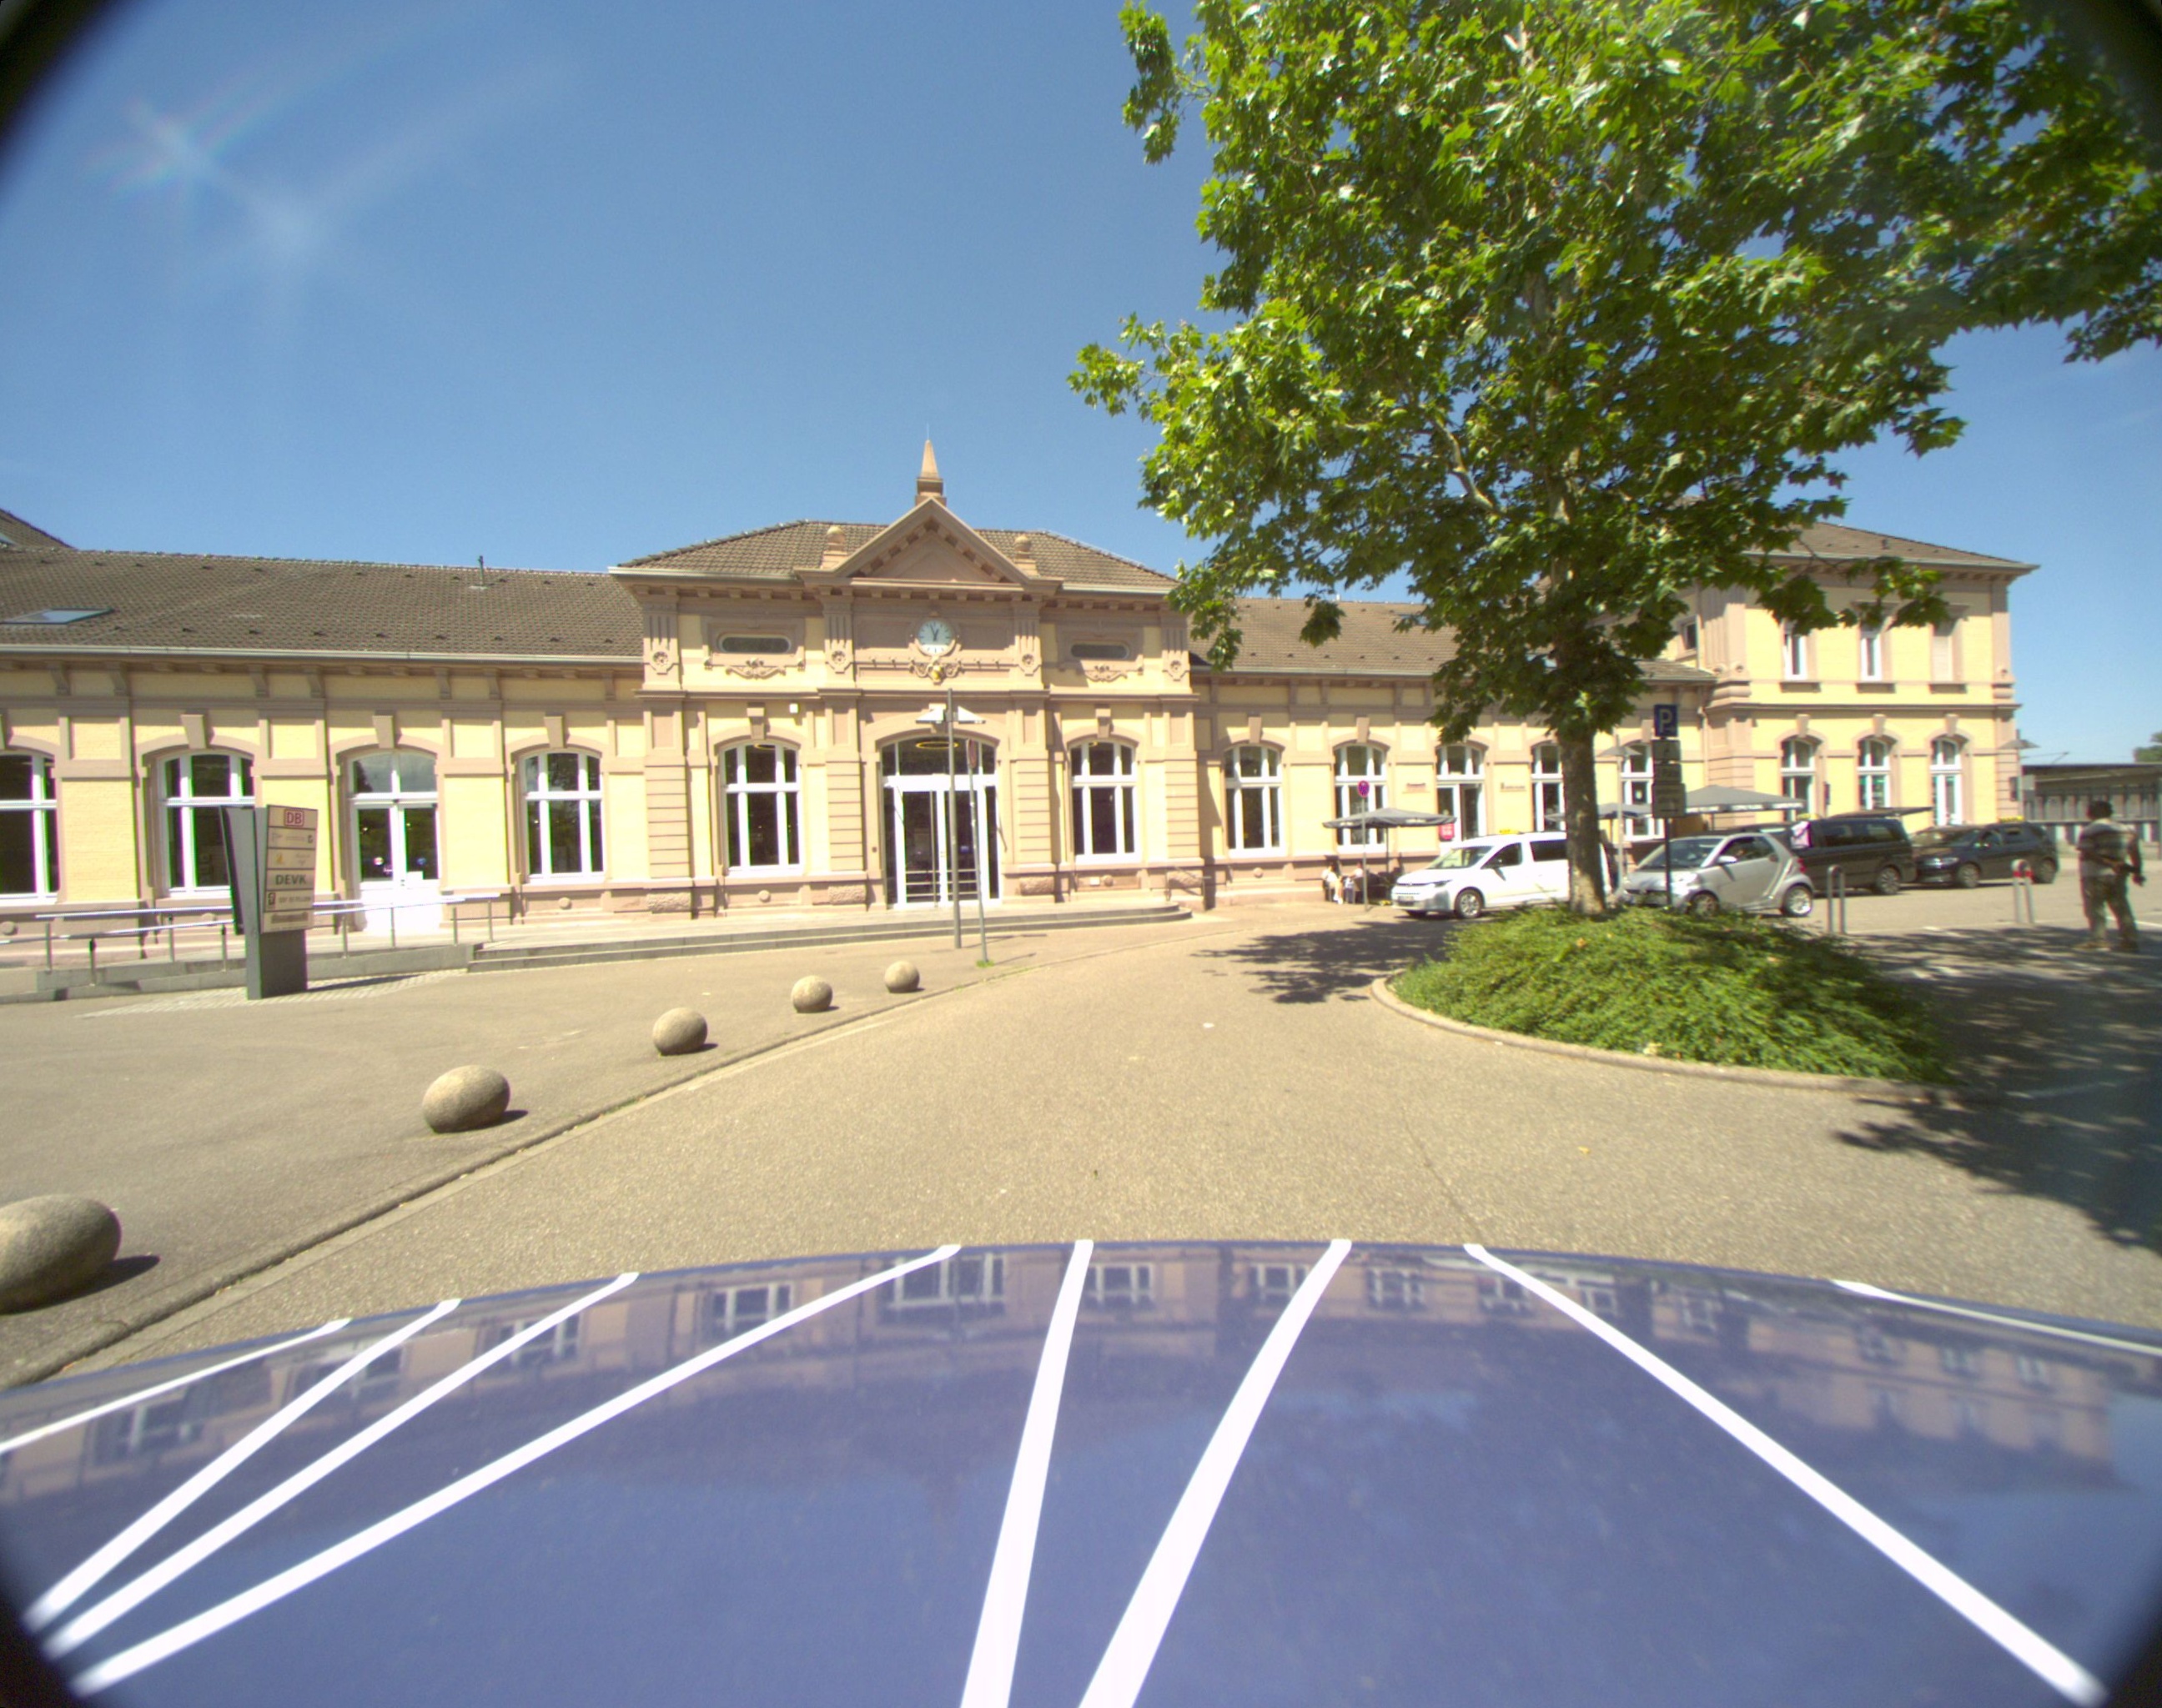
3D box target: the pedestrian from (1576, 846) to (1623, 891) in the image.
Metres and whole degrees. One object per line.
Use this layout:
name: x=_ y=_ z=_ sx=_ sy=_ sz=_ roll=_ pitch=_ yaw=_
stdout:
pedestrian: x=16.183 y=0.434 z=23.725 sx=0.852 sy=1.363 sz=0.880 roll=-2 pitch=2 yaw=-16

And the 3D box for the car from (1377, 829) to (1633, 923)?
car: x=9.476 y=0.460 z=17.071 sx=5.141 sy=1.854 sz=1.813 roll=-1 pitch=-1 yaw=-14

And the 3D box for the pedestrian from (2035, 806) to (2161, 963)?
pedestrian: x=11.732 y=0.333 z=8.683 sx=0.772 sy=1.707 sz=0.816 roll=-2 pitch=0 yaw=31

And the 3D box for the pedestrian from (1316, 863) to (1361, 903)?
pedestrian: x=7.294 y=0.814 z=21.572 sx=0.852 sy=1.074 sz=0.880 roll=-2 pitch=2 yaw=-16

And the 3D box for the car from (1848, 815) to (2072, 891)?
car: x=23.271 y=-0.042 z=20.157 sx=4.844 sy=1.829 sz=2.078 roll=-1 pitch=-1 yaw=-17

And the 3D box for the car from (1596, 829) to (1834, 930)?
car: x=11.282 y=0.420 z=13.618 sx=3.106 sy=1.584 sz=1.600 roll=-2 pitch=0 yaw=-9

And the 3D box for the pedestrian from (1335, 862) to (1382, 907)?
pedestrian: x=7.538 y=0.807 z=20.664 sx=0.852 sy=1.155 sz=0.880 roll=-2 pitch=2 yaw=-16

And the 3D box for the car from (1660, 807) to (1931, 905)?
car: x=17.163 y=0.024 z=18.273 sx=5.829 sy=2.111 sz=2.091 roll=-1 pitch=-1 yaw=-17
